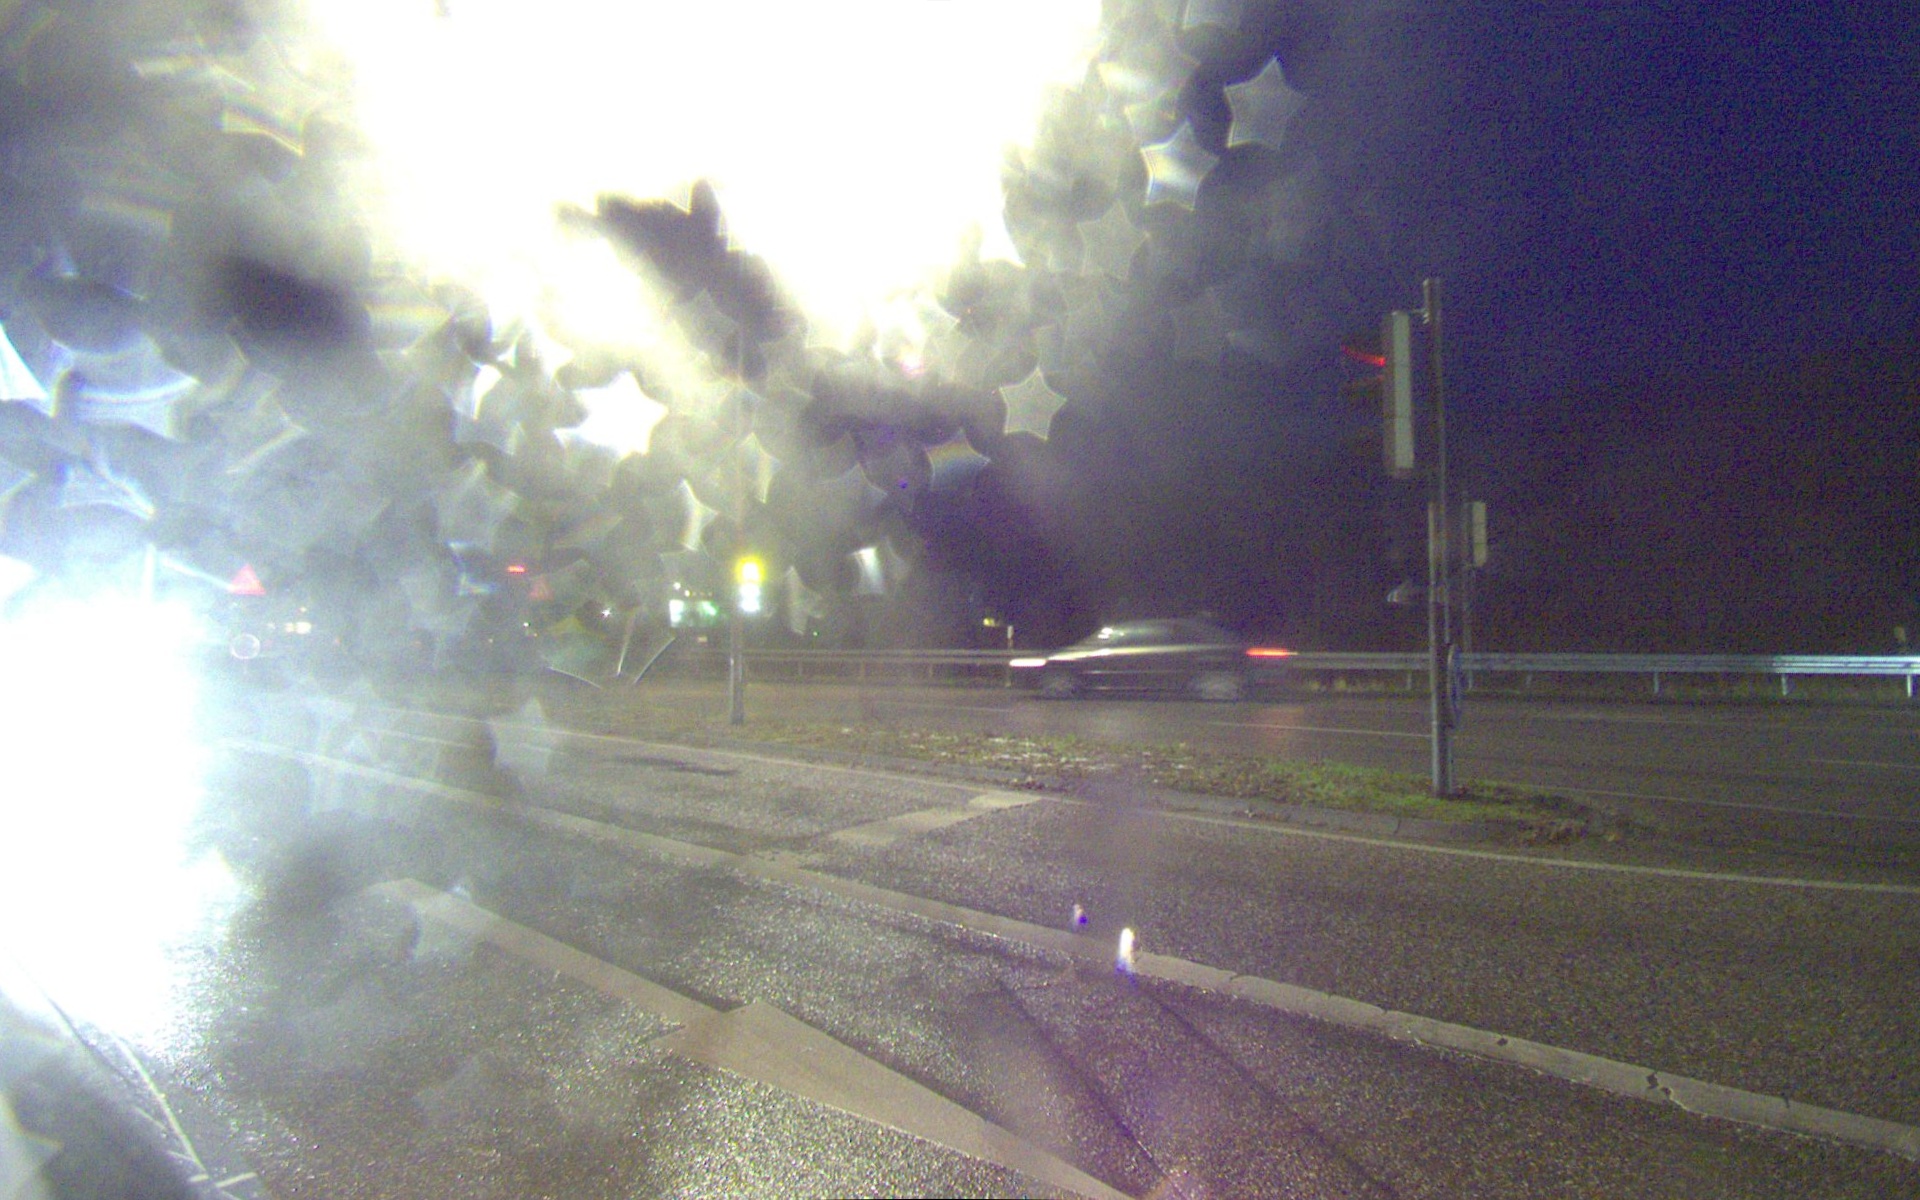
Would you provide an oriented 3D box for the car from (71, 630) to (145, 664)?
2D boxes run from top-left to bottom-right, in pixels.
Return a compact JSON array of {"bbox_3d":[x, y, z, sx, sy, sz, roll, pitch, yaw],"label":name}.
[{"bbox_3d":[-43.300,2.338,51.409,4.882,1.515,1.731,0,0,36],"label":"car"}]

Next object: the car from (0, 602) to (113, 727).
[{"bbox_3d":[-14.906,0.933,15.713,4.935,1.717,1.890,-1,-2,41],"label":"car"}]

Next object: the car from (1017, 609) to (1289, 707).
[{"bbox_3d":[3.301,0.953,17.301,4.344,1.510,1.647,0,-3,21],"label":"car"}]
